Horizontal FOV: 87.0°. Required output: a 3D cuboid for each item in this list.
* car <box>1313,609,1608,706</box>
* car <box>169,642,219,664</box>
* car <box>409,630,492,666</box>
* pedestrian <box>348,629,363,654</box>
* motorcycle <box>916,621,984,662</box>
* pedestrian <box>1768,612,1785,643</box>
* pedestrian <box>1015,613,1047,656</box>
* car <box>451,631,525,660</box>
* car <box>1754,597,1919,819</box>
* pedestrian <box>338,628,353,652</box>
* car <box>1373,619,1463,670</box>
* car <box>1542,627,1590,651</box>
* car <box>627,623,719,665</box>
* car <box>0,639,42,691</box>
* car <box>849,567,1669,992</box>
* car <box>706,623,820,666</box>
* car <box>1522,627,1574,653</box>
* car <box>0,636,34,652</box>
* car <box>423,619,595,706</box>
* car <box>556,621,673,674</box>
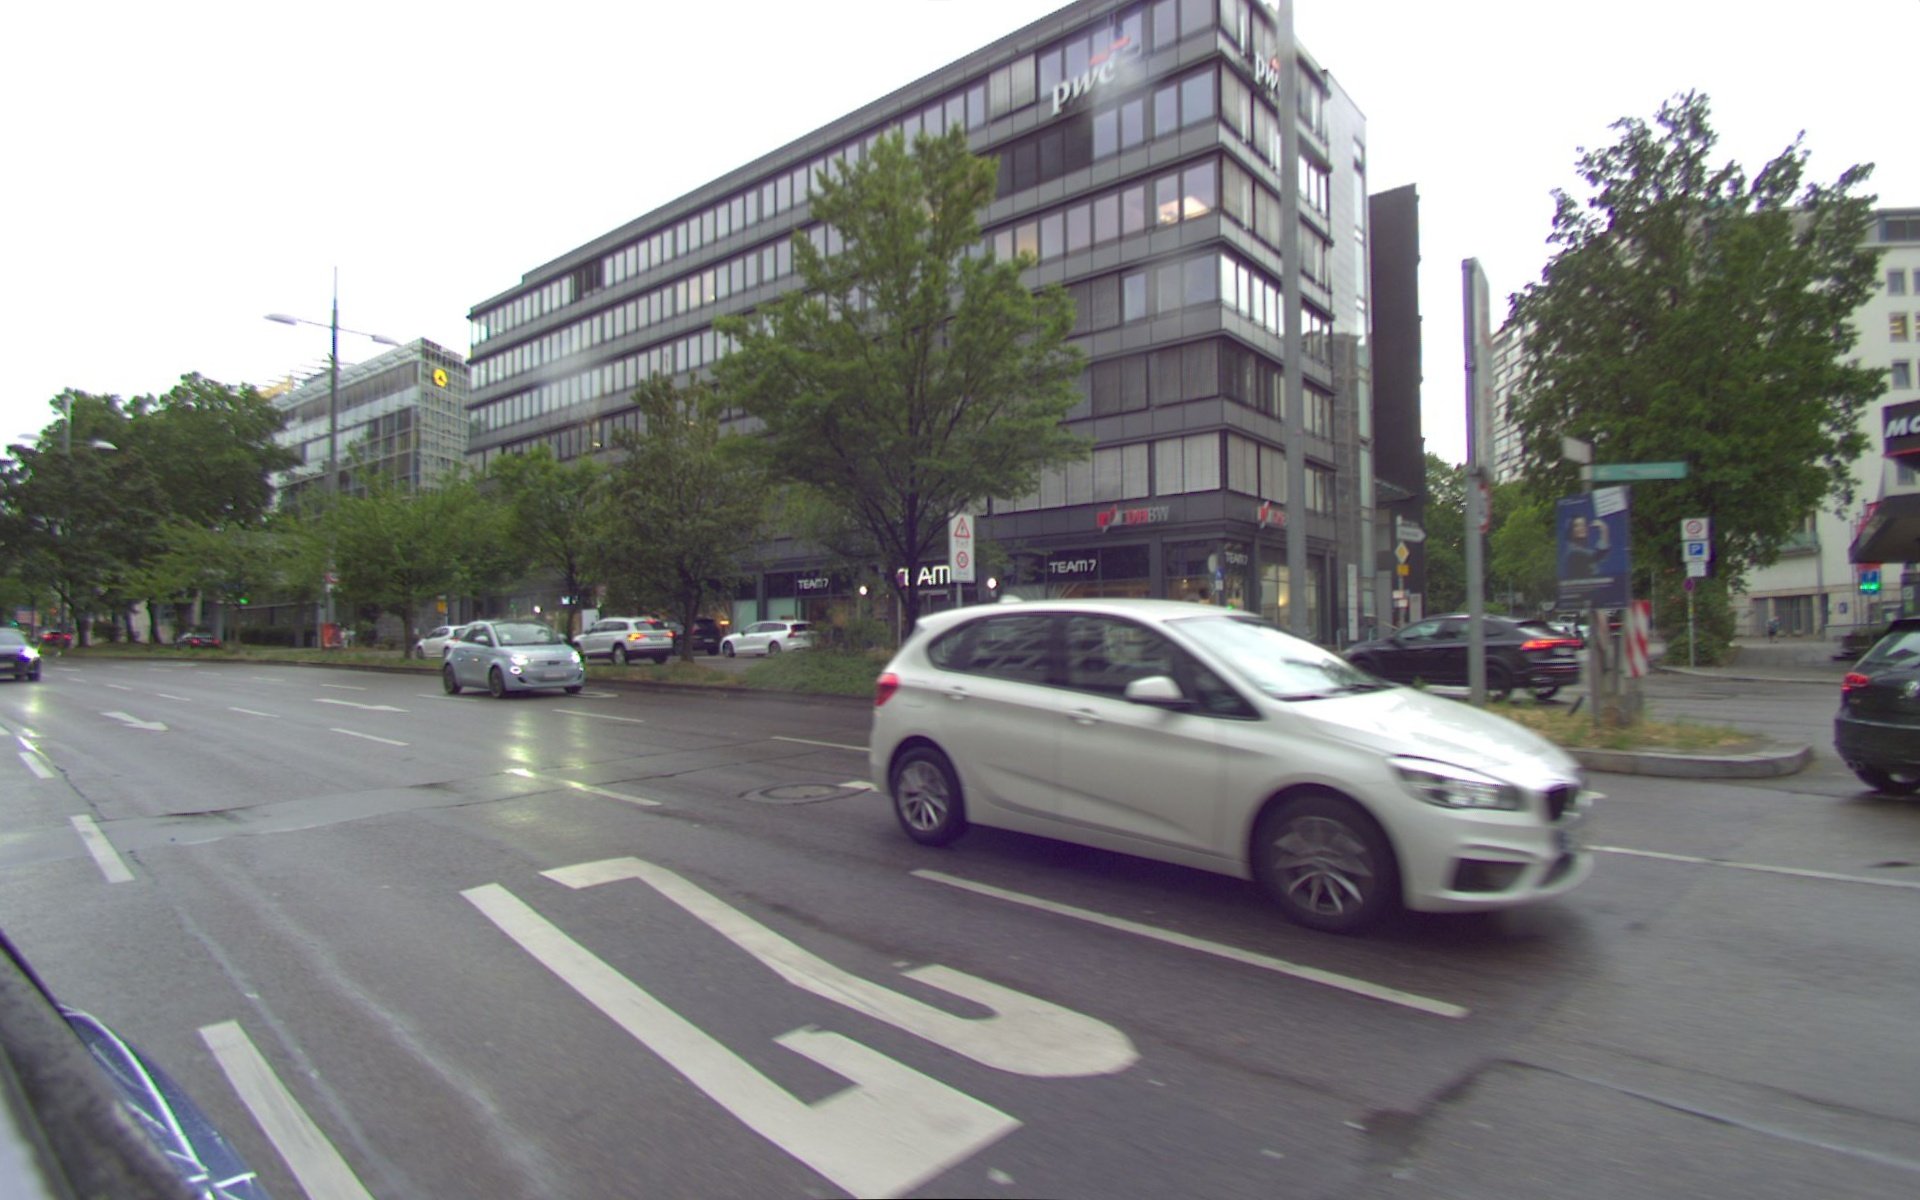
[{"bbox_3d":[9.018,0.993,18.665,1.966,1.556,4.495,0,-2,-32],"label":"car"},{"bbox_3d":[-54.624,3.746,72.128,4.295,1.487,1.791,-2,-2,38],"label":"car"},{"bbox_3d":[-22.013,2.050,43.677,4.078,1.442,1.666,-2,-2,38],"label":"car"},{"bbox_3d":[-46.129,3.142,77.267,0.924,1.846,0.720,-1,-1,40],"label":"pedestrian"},{"bbox_3d":[-0.357,1.511,36.802,2.346,1.404,0.856,-1,1,14],"label":"motorcycle"},{"bbox_3d":[50.498,1.701,62.577,0.729,1.937,0.912,-2,-2,40],"label":"pedestrian"},{"bbox_3d":[2.754,1.338,39.406,0.965,1.650,0.776,-2,-2,40],"label":"pedestrian"},{"bbox_3d":[-25.329,2.421,54.240,4.302,1.455,1.792,-2,-1,37],"label":"car"},{"bbox_3d":[8.622,0.702,7.063,4.623,1.462,1.844,0,-2,0],"label":"car"},{"bbox_3d":[-46.318,2.989,76.235,0.924,1.812,0.720,-1,-1,40],"label":"pedestrian"},{"bbox_3d":[16.572,1.557,36.516,1.998,1.652,3.947,-1,-1,40],"label":"car"},{"bbox_3d":[36.289,2.309,60.596,1.846,1.298,3.946,-1,-1,40],"label":"car"},{"bbox_3d":[-12.473,1.874,43.869,4.308,1.673,1.790,-2,-1,42],"label":"car"},{"bbox_3d":[-28.500,1.882,29.619,4.285,1.446,1.916,-2,-2,41],"label":"car"},{"bbox_3d":[1.392,0.737,5.944,4.289,1.585,1.763,-2,-2,45],"label":"car"},{"bbox_3d":[-7.808,1.745,39.877,4.769,1.496,1.791,-2,1,40],"label":"car"},{"bbox_3d":[32.545,2.206,55.960,1.846,1.298,3.946,-1,-1,40],"label":"car"},{"bbox_3d":[-90.303,4.176,96.846,4.306,1.445,1.711,-2,-2,38],"label":"car"},{"bbox_3d":[-9.199,1.215,20.551,3.688,1.585,1.766,-2,-2,40],"label":"car"},{"bbox_3d":[-12.385,1.663,36.162,4.486,1.741,1.721,-2,-1,37],"label":"car"}]
